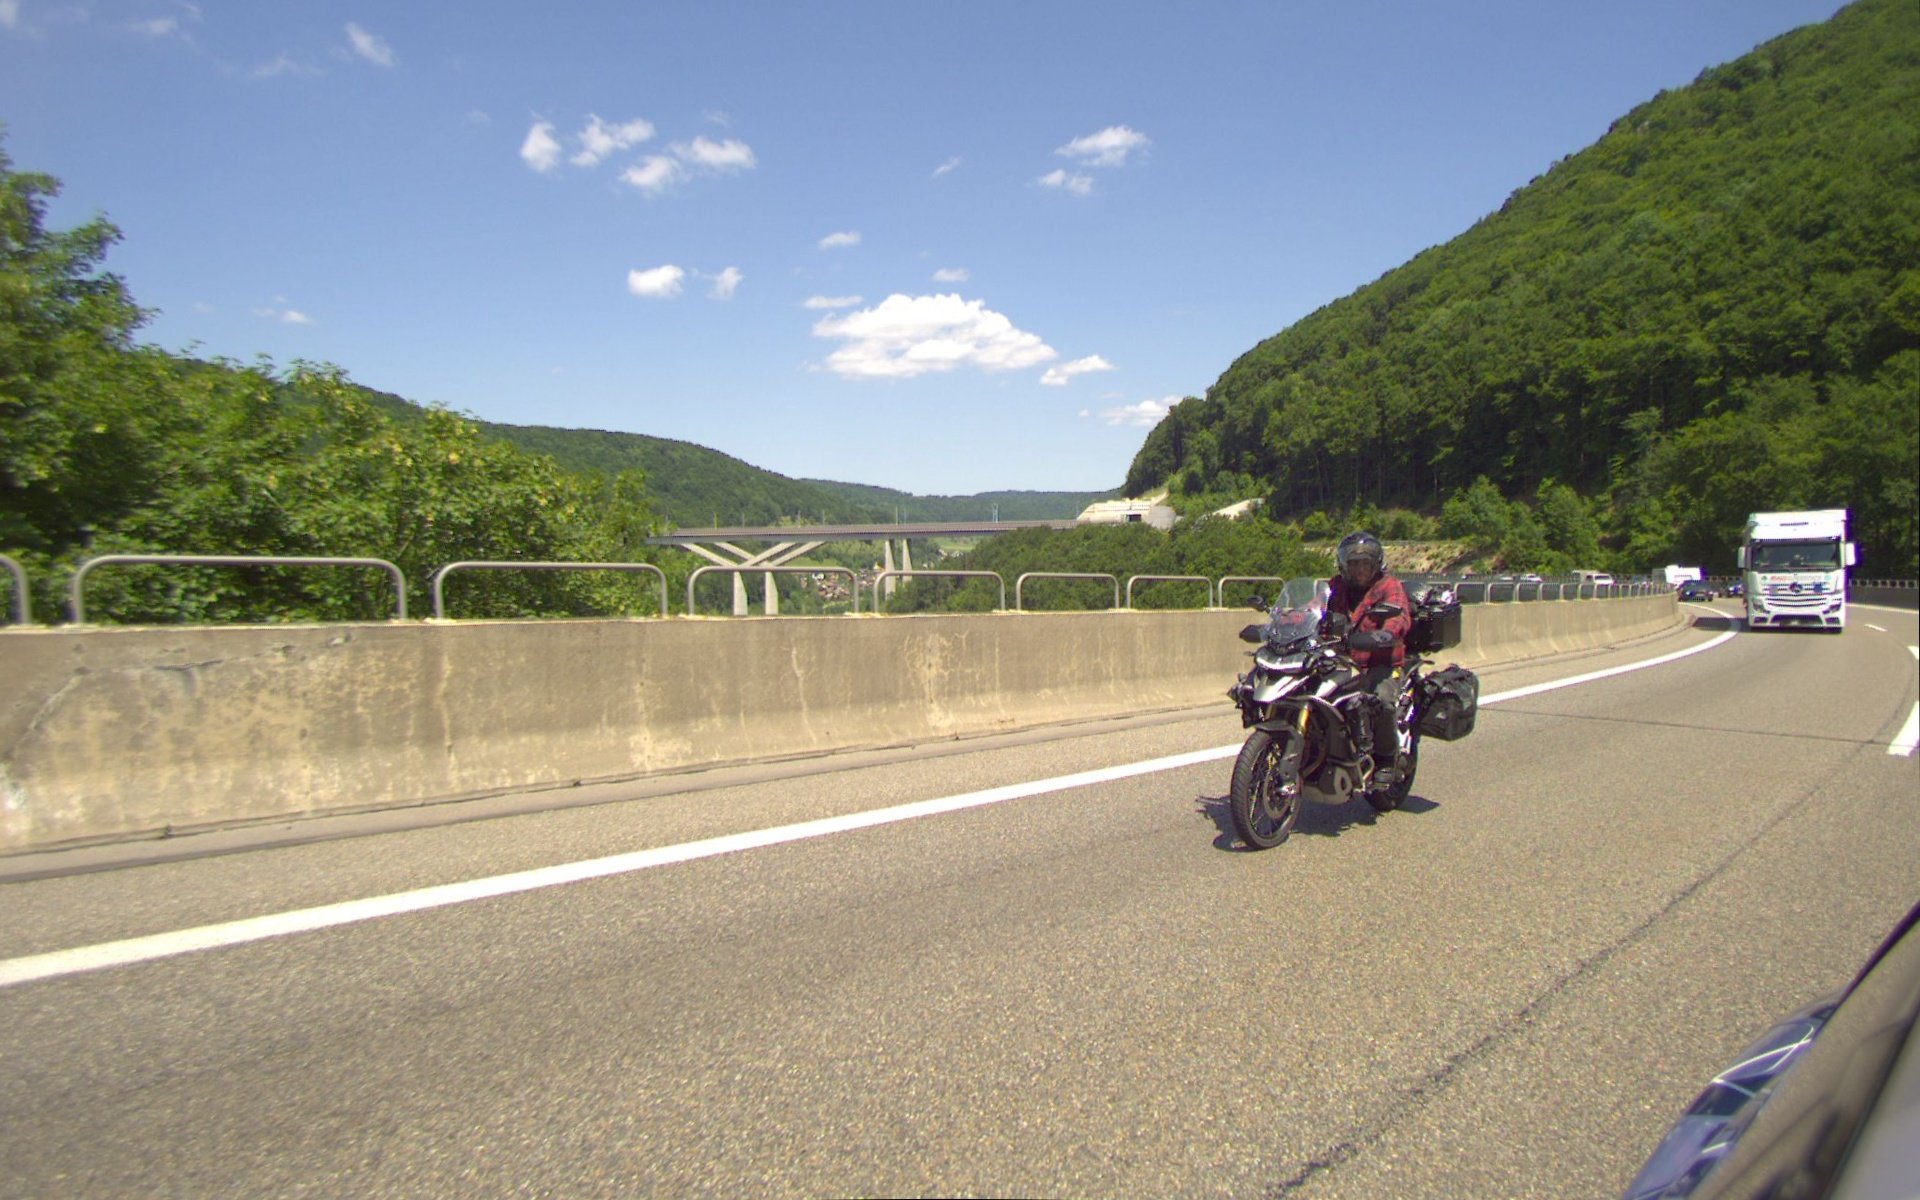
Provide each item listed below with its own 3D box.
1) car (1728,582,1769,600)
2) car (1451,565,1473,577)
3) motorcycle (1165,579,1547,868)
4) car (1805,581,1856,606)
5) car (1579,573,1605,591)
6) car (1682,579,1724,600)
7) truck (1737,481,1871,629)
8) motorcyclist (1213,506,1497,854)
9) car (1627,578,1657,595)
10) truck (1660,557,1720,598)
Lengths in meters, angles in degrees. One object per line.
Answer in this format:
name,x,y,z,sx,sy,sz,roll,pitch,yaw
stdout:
car,64.947,-0.769,83.363,1.982,1.471,3.961,1,1,28
car,86.266,-5.006,173.874,1.965,2.038,3.996,1,2,5
motorcycle,2.521,0.596,6.247,2.632,1.437,0.975,-1,1,-38
car,54.282,-0.446,63.179,1.743,1.507,3.937,1,1,32
car,72.335,-2.096,115.874,1.979,2.039,3.967,1,1,24
car,56.118,-0.809,76.484,1.737,1.507,3.950,1,1,24
truck,29.984,-1.404,35.704,2.959,4.184,16.457,1,1,41
motorcyclist,2.384,0.402,6.118,1.313,1.823,1.063,0,1,-37
car,75.640,-1.472,112.343,1.977,1.816,3.970,1,1,23
truck,58.495,-1.781,81.223,2.591,3.140,6.797,1,1,25
